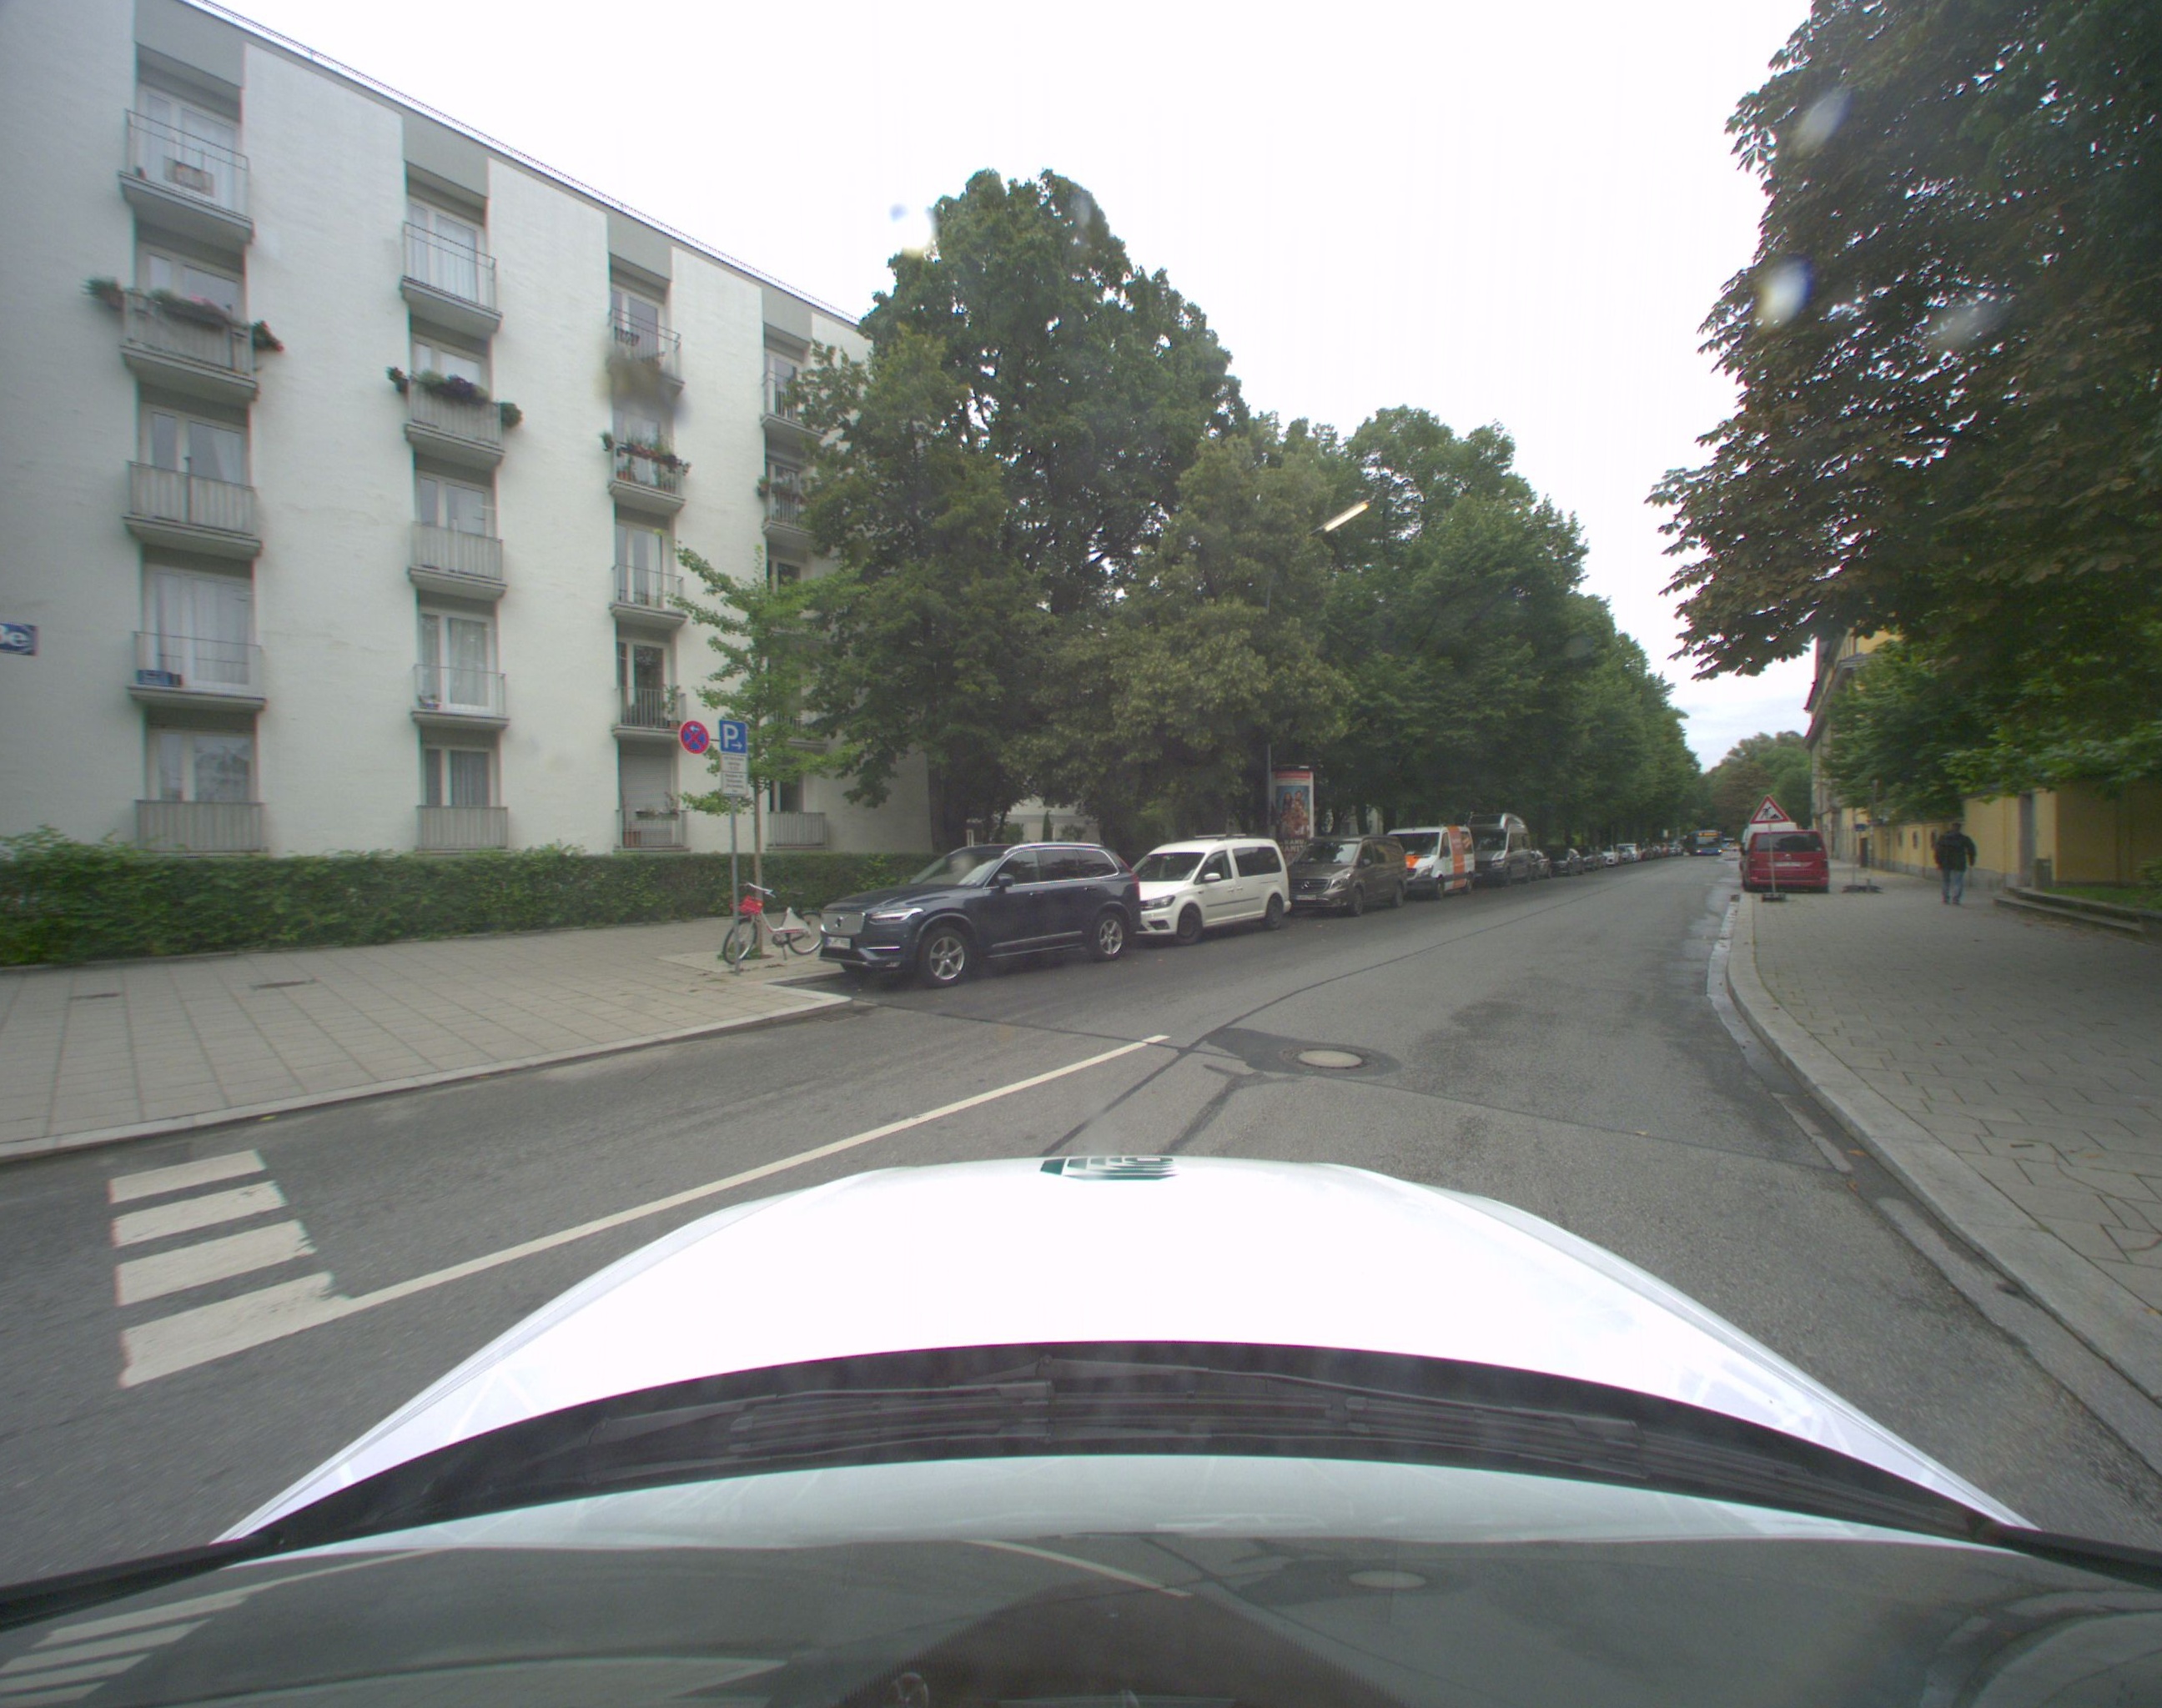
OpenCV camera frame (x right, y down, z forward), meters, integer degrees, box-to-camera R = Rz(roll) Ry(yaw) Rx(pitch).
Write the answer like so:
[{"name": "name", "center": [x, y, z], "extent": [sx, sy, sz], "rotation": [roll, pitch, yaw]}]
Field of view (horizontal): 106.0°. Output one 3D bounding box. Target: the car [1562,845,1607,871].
[{"name": "car", "center": [30.107, 0.193, 48.684], "extent": [1.834, 1.473, 4.025], "rotation": [0, 0, 38]}]

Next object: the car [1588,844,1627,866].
[{"name": "car", "center": [37.103, 0.038, 57.337], "extent": [1.834, 1.473, 4.025], "rotation": [0, 0, 39]}]

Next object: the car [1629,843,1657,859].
[{"name": "car", "center": [51.704, -0.269, 74.871], "extent": [1.834, 1.473, 4.025], "rotation": [0, 0, 39]}]

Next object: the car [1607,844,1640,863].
[{"name": "car", "center": [43.477, -0.023, 65.270], "extent": [1.834, 1.473, 4.025], "rotation": [0, 0, 39]}]

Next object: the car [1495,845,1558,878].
[{"name": "car", "center": [20.773, 0.321, 37.868], "extent": [1.856, 1.416, 4.025], "rotation": [0, 0, 39]}]

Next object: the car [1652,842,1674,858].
[{"name": "car", "center": [65.850, -0.452, 92.121], "extent": [1.834, 1.701, 4.025], "rotation": [0, 0, 39]}]

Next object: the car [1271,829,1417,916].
[{"name": "car", "center": [6.845, 0.415, 20.763], "extent": [1.869, 1.933, 5.241], "rotation": [-2, -1, 37]}]

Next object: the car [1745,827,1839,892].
[{"name": "car", "center": [22.128, 0.155, 25.512], "extent": [1.972, 1.839, 4.743], "rotation": [-2, -1, 38]}]

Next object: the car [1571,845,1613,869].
[{"name": "car", "center": [33.161, 0.173, 52.828], "extent": [1.834, 1.473, 4.025], "rotation": [0, 0, 39]}]

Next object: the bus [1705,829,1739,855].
[{"name": "bus", "center": [79.195, -1.480, 100.557], "extent": [2.687, 2.899, 14.644], "rotation": [0, 0, 41]}]

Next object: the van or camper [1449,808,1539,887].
[{"name": "van or camper", "center": [16.948, -0.257, 33.212], "extent": [1.981, 2.945, 6.048], "rotation": [-2, -1, 39]}]

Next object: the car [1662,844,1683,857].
[{"name": "car", "center": [71.670, -0.464, 98.703], "extent": [1.834, 1.572, 4.025], "rotation": [0, 0, 39]}]

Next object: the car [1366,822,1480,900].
[{"name": "car", "center": [11.161, 0.191, 26.314], "extent": [1.928, 2.272, 5.276], "rotation": [-2, -1, 39]}]

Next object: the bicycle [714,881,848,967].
[{"name": "bicycle", "center": [-4.265, 0.961, 11.732], "extent": [0.485, 1.049, 1.842], "rotation": [-1, 1, 35]}]

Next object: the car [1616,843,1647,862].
[{"name": "car", "center": [47.152, -0.175, 69.691], "extent": [1.834, 1.564, 4.025], "rotation": [0, 0, 39]}]

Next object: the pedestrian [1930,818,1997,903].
[{"name": "pedestrian", "center": [19.606, 0.129, 18.122], "extent": [0.865, 1.831, 1.058], "rotation": [-1, 0, 40]}]

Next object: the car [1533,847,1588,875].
[{"name": "car", "center": [24.688, 0.335, 41.877], "extent": [1.856, 1.347, 4.025], "rotation": [0, 0, 39]}]

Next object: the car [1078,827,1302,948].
[{"name": "car", "center": [2.237, 0.527, 15.441], "extent": [1.812, 1.918, 4.879], "rotation": [-2, -1, 41]}]

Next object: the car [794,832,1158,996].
[{"name": "car", "center": [-1.201, 0.648, 11.389], "extent": [1.974, 1.792, 4.943], "rotation": [-2, -1, 42]}]

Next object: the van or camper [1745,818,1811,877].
[{"name": "van or camper", "center": [32.131, -0.289, 37.671], "extent": [2.111, 2.546, 5.276], "rotation": [-2, -1, 39]}]
